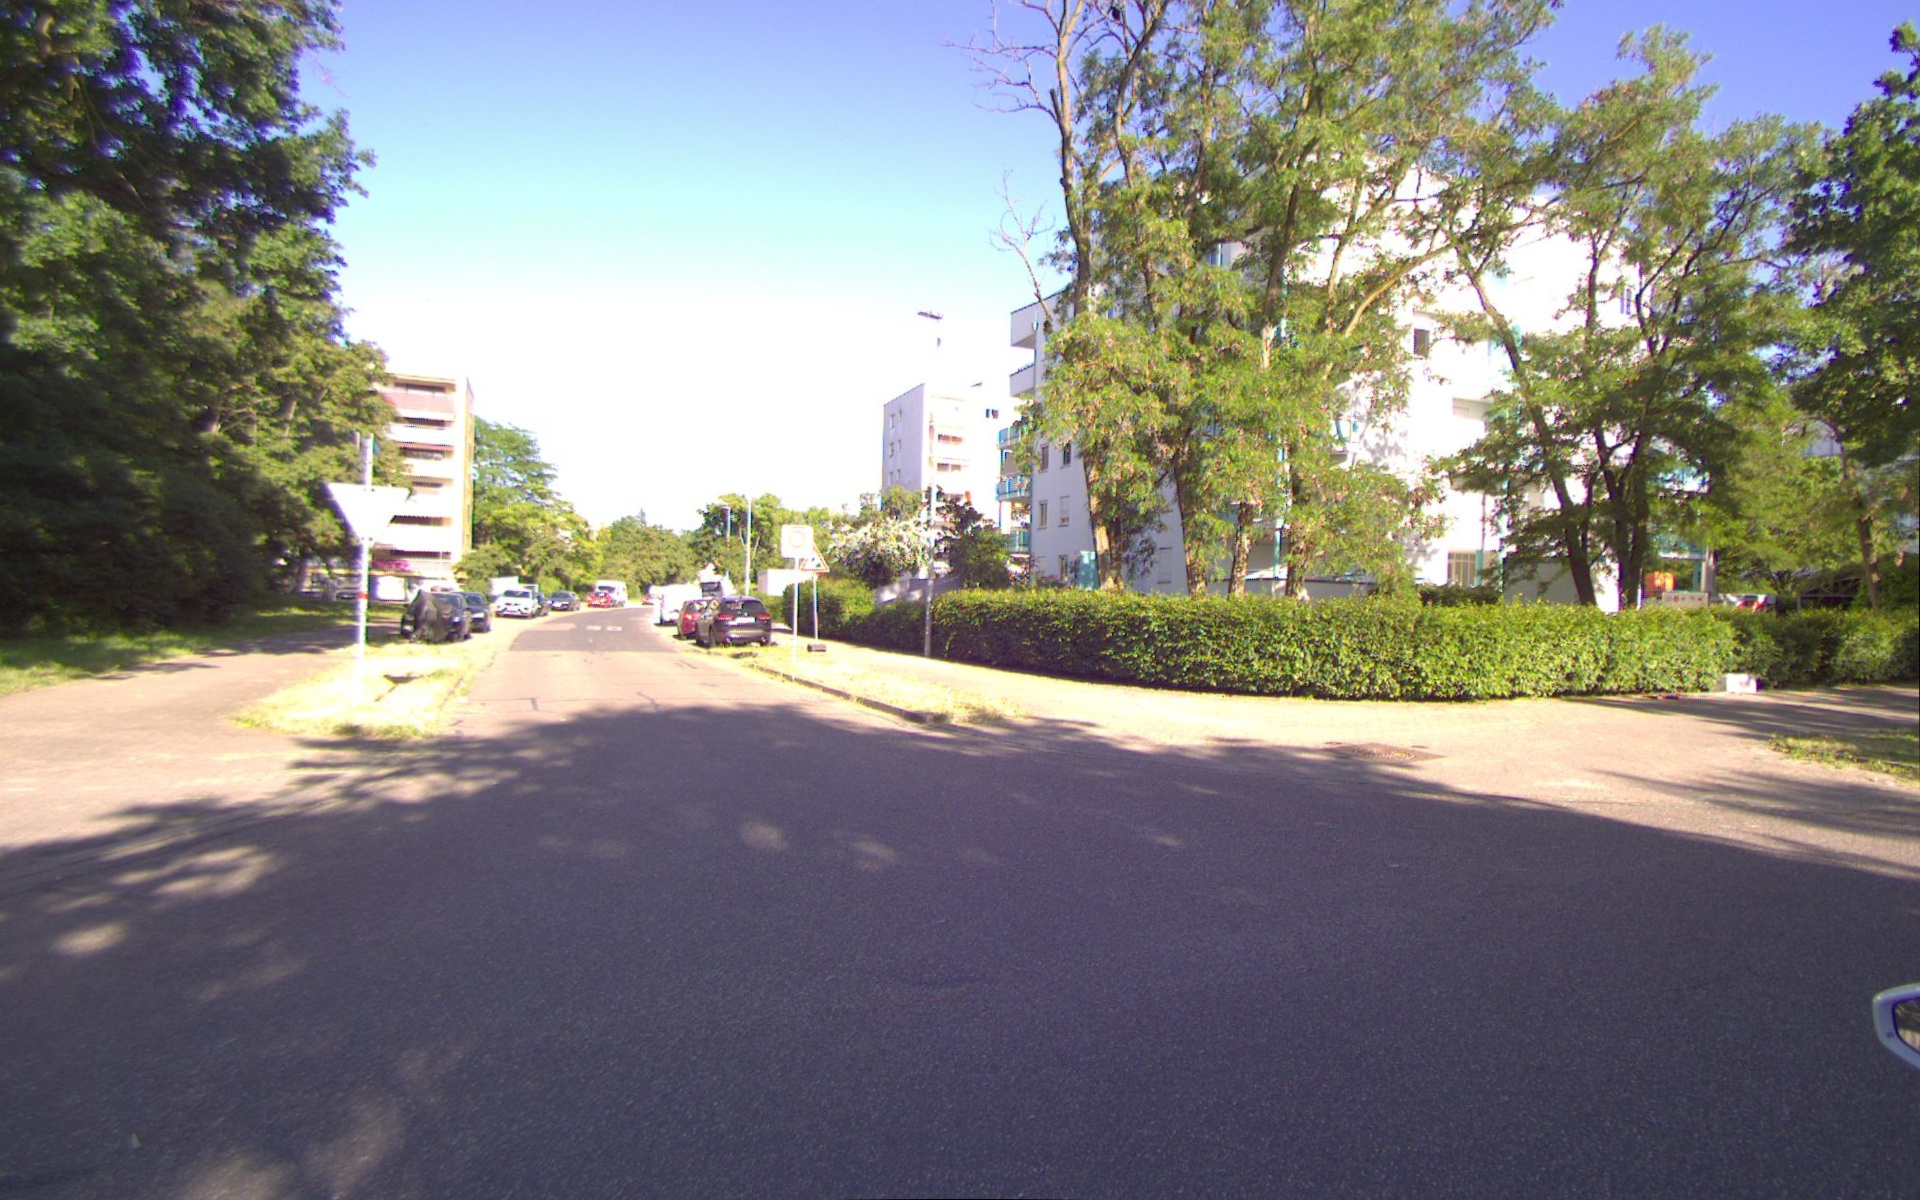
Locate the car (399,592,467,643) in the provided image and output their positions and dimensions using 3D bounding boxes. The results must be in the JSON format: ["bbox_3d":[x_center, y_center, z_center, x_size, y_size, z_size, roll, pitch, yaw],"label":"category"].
[{"bbox_3d":[-15.800,0.496,30.240,1.538,1.410,3.568,1,0,-24],"label":"car"}]

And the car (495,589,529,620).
[{"bbox_3d":[-24.433,0.222,54.845,1.622,1.578,3.813,1,0,-24],"label":"car"}]

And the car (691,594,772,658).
[{"bbox_3d":[-7.158,0.757,31.187,1.732,1.808,3.813,1,0,-24],"label":"car"}]

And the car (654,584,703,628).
[{"bbox_3d":[-14.225,0.271,50.600,1.802,2.088,3.813,1,0,-24],"label":"car"}]

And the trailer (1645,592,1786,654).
[{"bbox_3d":[26.537,0.793,35.304,4.365,2.070,1.973,1,0,-22],"label":"trailer"}]

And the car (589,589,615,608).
[{"bbox_3d":[-32.788,-0.163,92.068,1.795,1.617,3.989,2,0,-13],"label":"car"}]

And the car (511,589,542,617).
[{"bbox_3d":[-25.951,0.143,60.100,1.622,1.578,3.813,1,0,-24],"label":"car"}]

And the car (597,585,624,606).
[{"bbox_3d":[-33.776,-0.481,97.122,1.950,1.925,3.989,2,0,-13],"label":"car"}]

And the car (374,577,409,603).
[{"bbox_3d":[-40.593,-0.738,71.772,1.738,1.767,3.813,1,0,-24],"label":"car"}]

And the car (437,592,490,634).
[{"bbox_3d":[-18.153,0.460,36.841,1.538,1.410,3.568,1,0,-24],"label":"car"}]

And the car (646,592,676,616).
[{"bbox_3d":[-19.520,0.228,65.549,1.499,1.486,3.056,1,0,-23],"label":"car"}]

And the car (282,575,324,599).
[{"bbox_3d":[-45.396,-0.880,69.503,1.775,1.547,3.813,1,0,-24],"label":"car"}]

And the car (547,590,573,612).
[{"bbox_3d":[-29.521,0.051,74.106,1.622,1.578,3.813,1,0,-24],"label":"car"}]

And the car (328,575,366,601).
[{"bbox_3d":[-43.250,-0.865,70.965,1.738,1.767,3.813,1,0,-24],"label":"car"}]

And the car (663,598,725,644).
[{"bbox_3d":[-9.851,0.748,37.012,1.615,1.531,3.813,1,0,-24],"label":"car"}]

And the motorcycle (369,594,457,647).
[{"bbox_3d":[-14.486,0.535,26.640,0.664,1.362,1.955,2,0,35],"label":"motorcycle"}]

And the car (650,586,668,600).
[{"bbox_3d":[-37.860,-0.842,126.375,1.860,1.662,3.991,2,0,-12],"label":"car"}]
